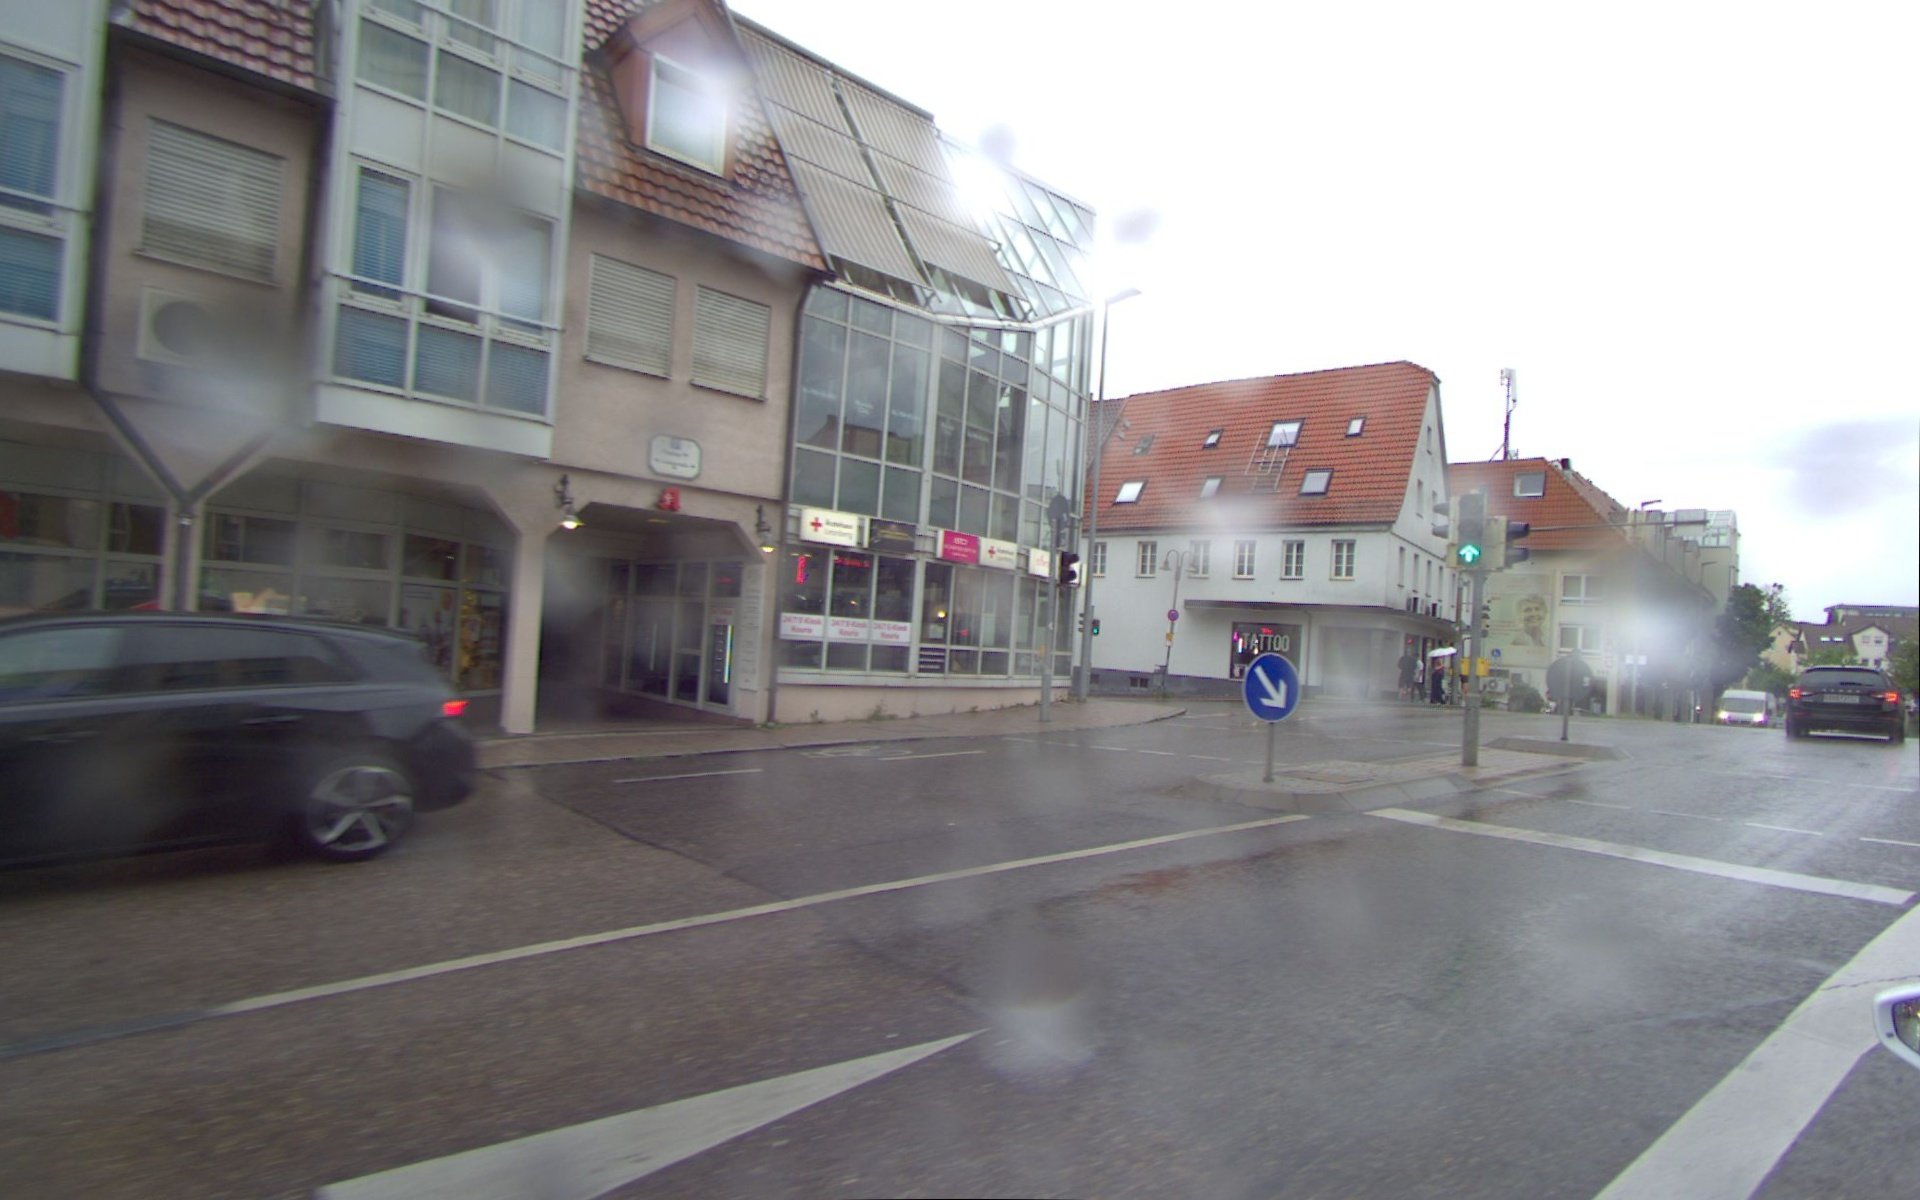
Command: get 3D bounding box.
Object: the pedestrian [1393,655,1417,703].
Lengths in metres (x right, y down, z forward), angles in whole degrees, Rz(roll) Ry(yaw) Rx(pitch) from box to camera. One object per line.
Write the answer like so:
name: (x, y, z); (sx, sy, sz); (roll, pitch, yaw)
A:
pedestrian: (14.958, 2.631, 33.779); (0.585, 1.580, 0.632); (-1, -3, 38)

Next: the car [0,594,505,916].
car: (-4.878, 0.738, 5.527); (3.971, 1.487, 1.870); (1, -2, -42)

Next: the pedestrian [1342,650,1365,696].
pedestrian: (13.614, 2.515, 34.789); (0.585, 1.580, 0.632); (-1, -3, 38)

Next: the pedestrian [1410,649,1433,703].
pedestrian: (15.723, 2.584, 34.241); (0.585, 1.797, 0.632); (-1, -3, 38)

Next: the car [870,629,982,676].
car: (-1.199, 1.790, 34.868); (3.624, 1.526, 1.739); (-1, -2, 37)

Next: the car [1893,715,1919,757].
car: (43.577, 6.141, 45.290); (3.971, 1.487, 1.870); (1, -2, -43)

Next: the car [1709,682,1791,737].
car: (42.398, 5.803, 53.827); (6.514, 2.660, 2.562); (4, -5, -44)

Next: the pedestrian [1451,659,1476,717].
pedestrian: (16.969, 2.952, 33.858); (0.595, 1.892, 0.745); (-1, -3, 38)

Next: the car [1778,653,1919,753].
car: (18.548, 1.996, 20.572); (4.378, 1.588, 1.929); (0, 1, -39)

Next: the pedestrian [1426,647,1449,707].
pedestrian: (15.379, 2.466, 32.338); (0.528, 1.896, 0.632); (-1, -3, 38)
